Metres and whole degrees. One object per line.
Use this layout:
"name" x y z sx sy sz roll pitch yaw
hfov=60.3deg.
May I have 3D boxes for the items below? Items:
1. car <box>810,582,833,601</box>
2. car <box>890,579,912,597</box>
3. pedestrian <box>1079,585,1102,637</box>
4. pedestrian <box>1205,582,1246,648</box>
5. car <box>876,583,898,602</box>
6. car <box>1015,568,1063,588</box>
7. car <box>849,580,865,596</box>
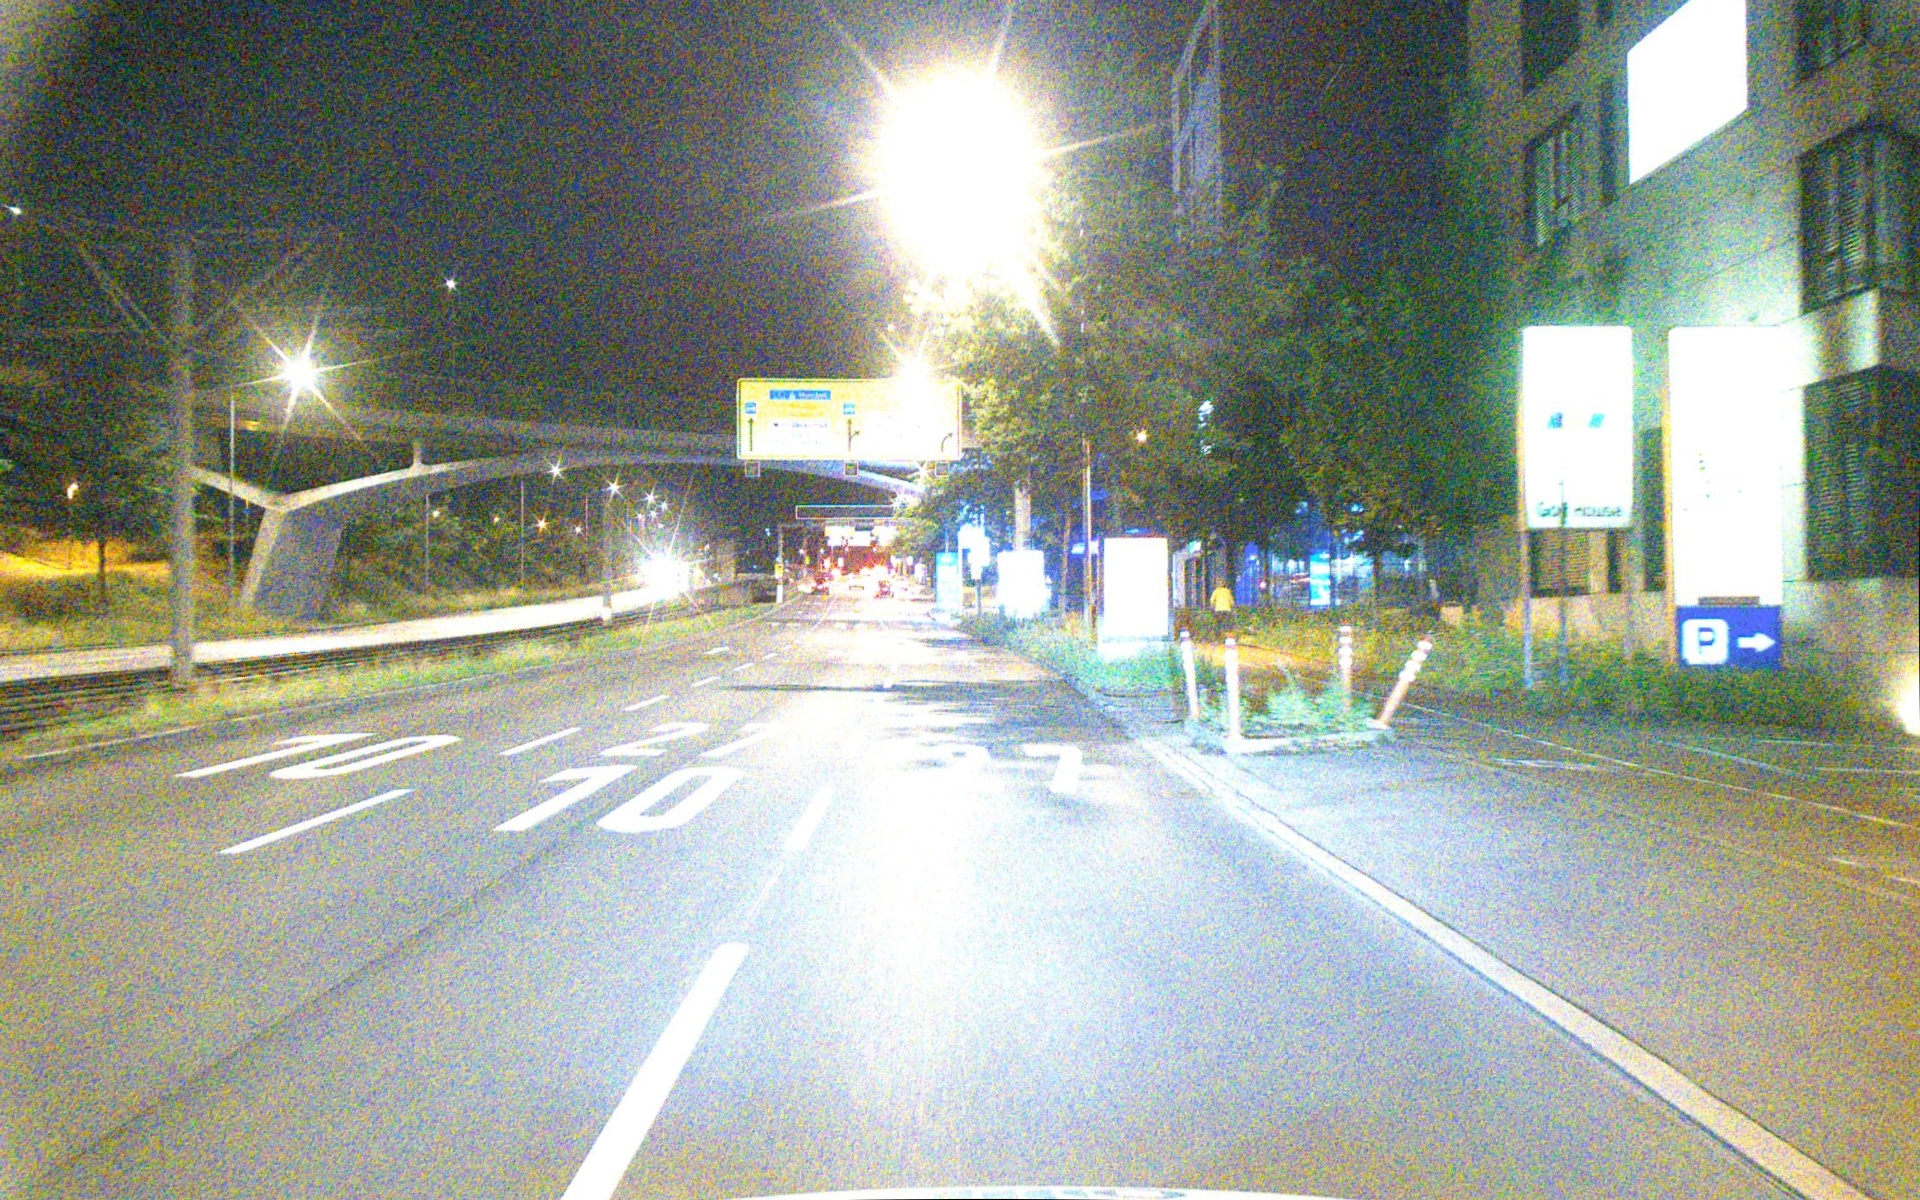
"car" -13.618 -0.857 162.521 1.928 1.741 3.999 1 -1 -2
"car" -7.045 -1.427 197.851 2.598 2.049 5.297 1 -1 -2
"pedestrian" 4.975 0.409 63.170 0.787 1.946 0.794 -2 0 6
"pedestrian" 7.151 0.408 44.593 0.835 1.737 0.956 3 -1 -3
"car" -6.927 -0.727 156.952 1.928 1.741 3.999 1 -1 -2
"car" 6.860 -1.912 143.493 4.037 1.549 1.821 -2 -1 -2
"car" -11.964 -1.345 192.606 1.746 1.741 3.999 1 -1 -1
